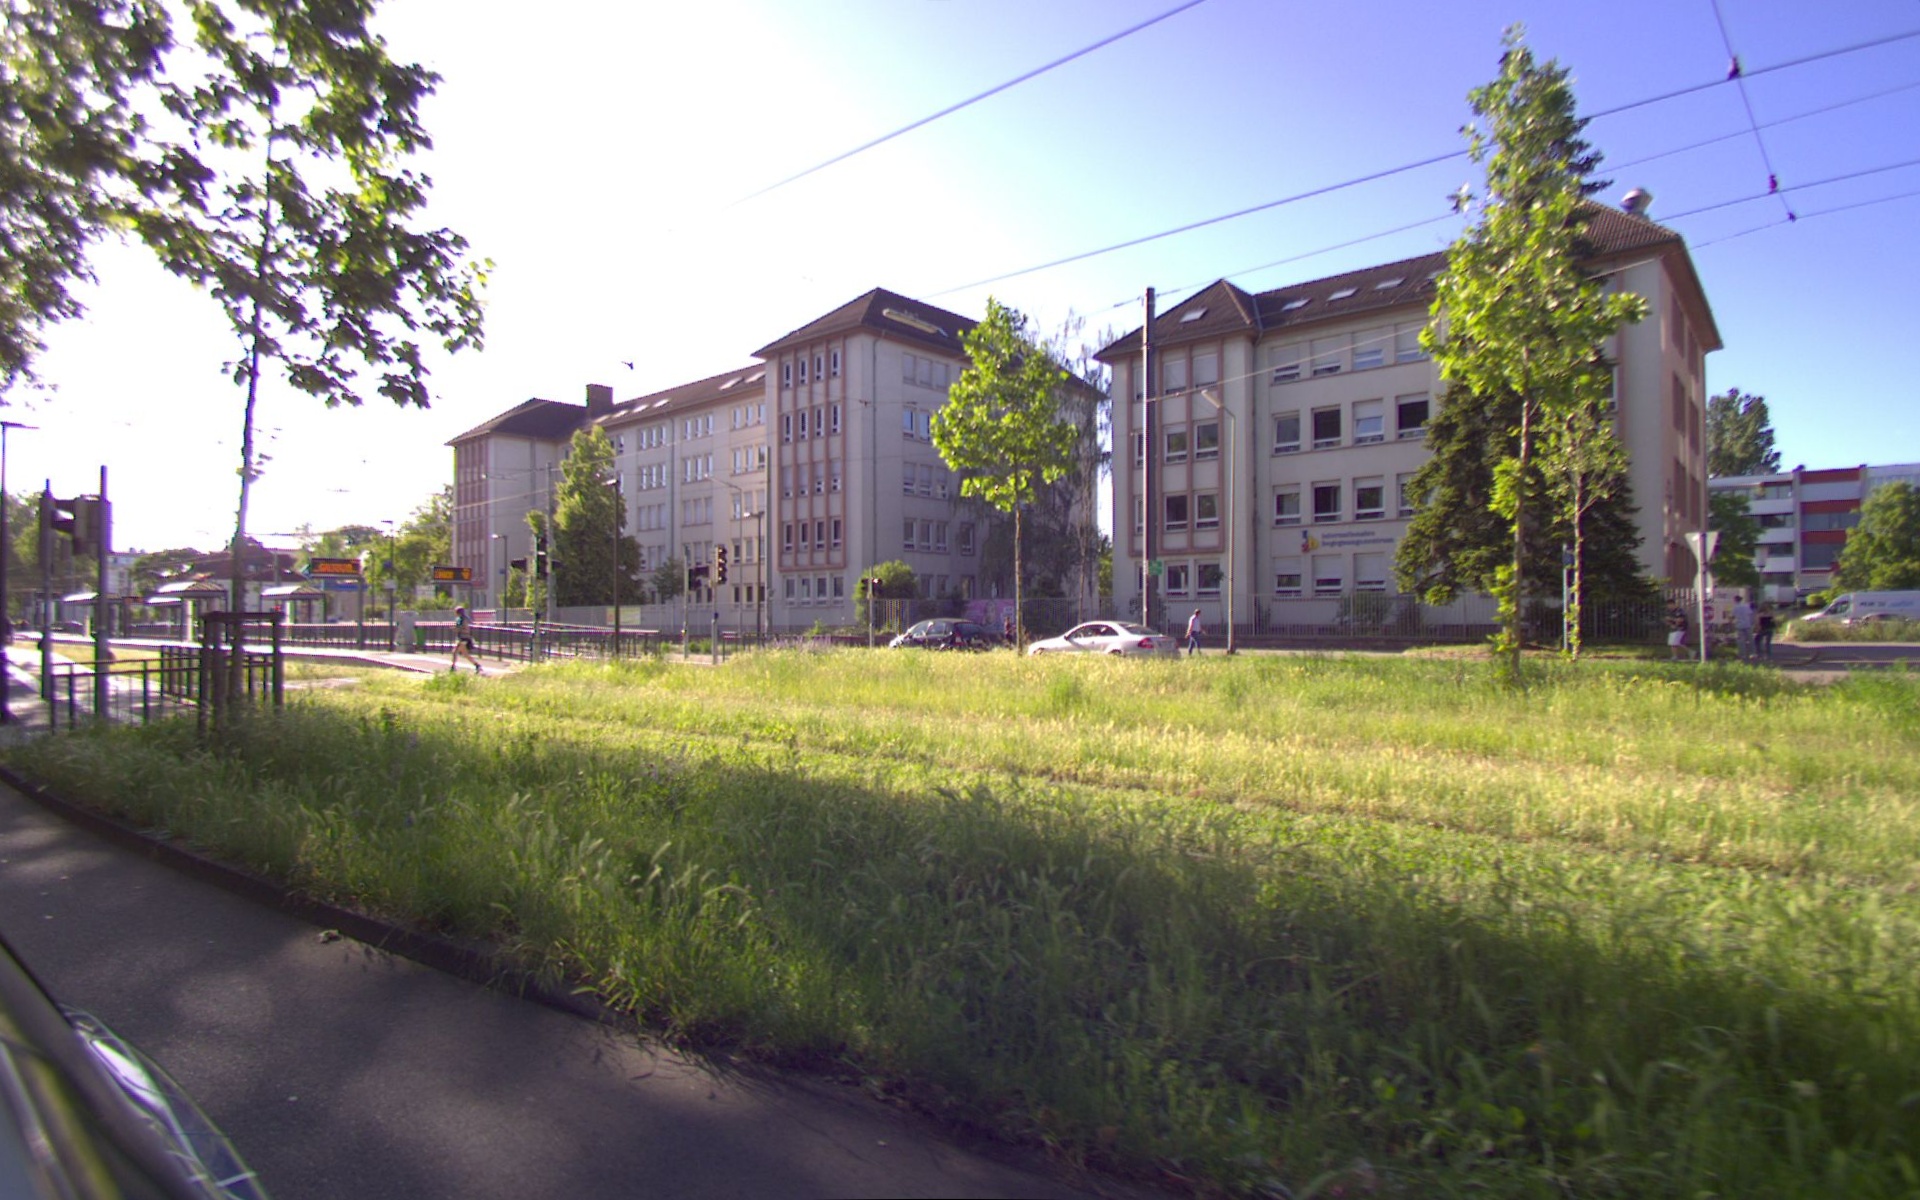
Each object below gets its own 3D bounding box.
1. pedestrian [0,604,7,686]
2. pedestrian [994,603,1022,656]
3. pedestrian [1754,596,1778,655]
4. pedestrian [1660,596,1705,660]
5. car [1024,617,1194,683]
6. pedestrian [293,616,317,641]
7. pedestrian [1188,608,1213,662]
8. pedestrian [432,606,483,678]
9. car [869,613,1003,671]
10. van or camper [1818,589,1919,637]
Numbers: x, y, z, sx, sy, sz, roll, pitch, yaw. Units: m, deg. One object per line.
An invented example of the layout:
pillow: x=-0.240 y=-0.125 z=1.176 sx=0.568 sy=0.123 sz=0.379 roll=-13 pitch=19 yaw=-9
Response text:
pedestrian: x=-20.268 y=0.936 z=20.937 sx=0.772 sy=1.693 sz=0.705 roll=-2 pitch=-1 yaw=40
pedestrian: x=1.887 y=1.158 z=39.745 sx=0.860 sy=2.029 sz=0.656 roll=-2 pitch=-2 yaw=40
pedestrian: x=23.405 y=0.742 z=29.395 sx=0.371 sy=1.708 sz=0.449 roll=0 pitch=-2 yaw=-42
pedestrian: x=19.765 y=0.768 z=27.695 sx=0.819 sy=1.708 sz=0.677 roll=-1 pitch=-1 yaw=22
car: x=3.956 y=1.310 z=27.497 sx=1.744 sy=1.635 sz=4.480 roll=1 pitch=-2 yaw=-43
pedestrian: x=-38.122 y=1.655 z=58.914 sx=0.878 sy=1.386 sz=0.965 roll=-2 pitch=-1 yaw=40
pedestrian: x=8.276 y=1.208 z=34.883 sx=0.572 sy=1.851 sz=0.685 roll=-2 pitch=-2 yaw=40
pedestrian: x=-12.399 y=1.019 z=24.974 sx=0.730 sy=1.749 sz=0.942 roll=-2 pitch=-2 yaw=43
car: x=-0.820 y=1.293 z=32.279 sx=4.151 sy=1.720 sz=1.971 roll=-2 pitch=-2 yaw=45
van or camper: x=53.167 y=0.746 z=57.523 sx=6.662 sy=2.663 sz=1.973 roll=-2 pitch=-1 yaw=41
